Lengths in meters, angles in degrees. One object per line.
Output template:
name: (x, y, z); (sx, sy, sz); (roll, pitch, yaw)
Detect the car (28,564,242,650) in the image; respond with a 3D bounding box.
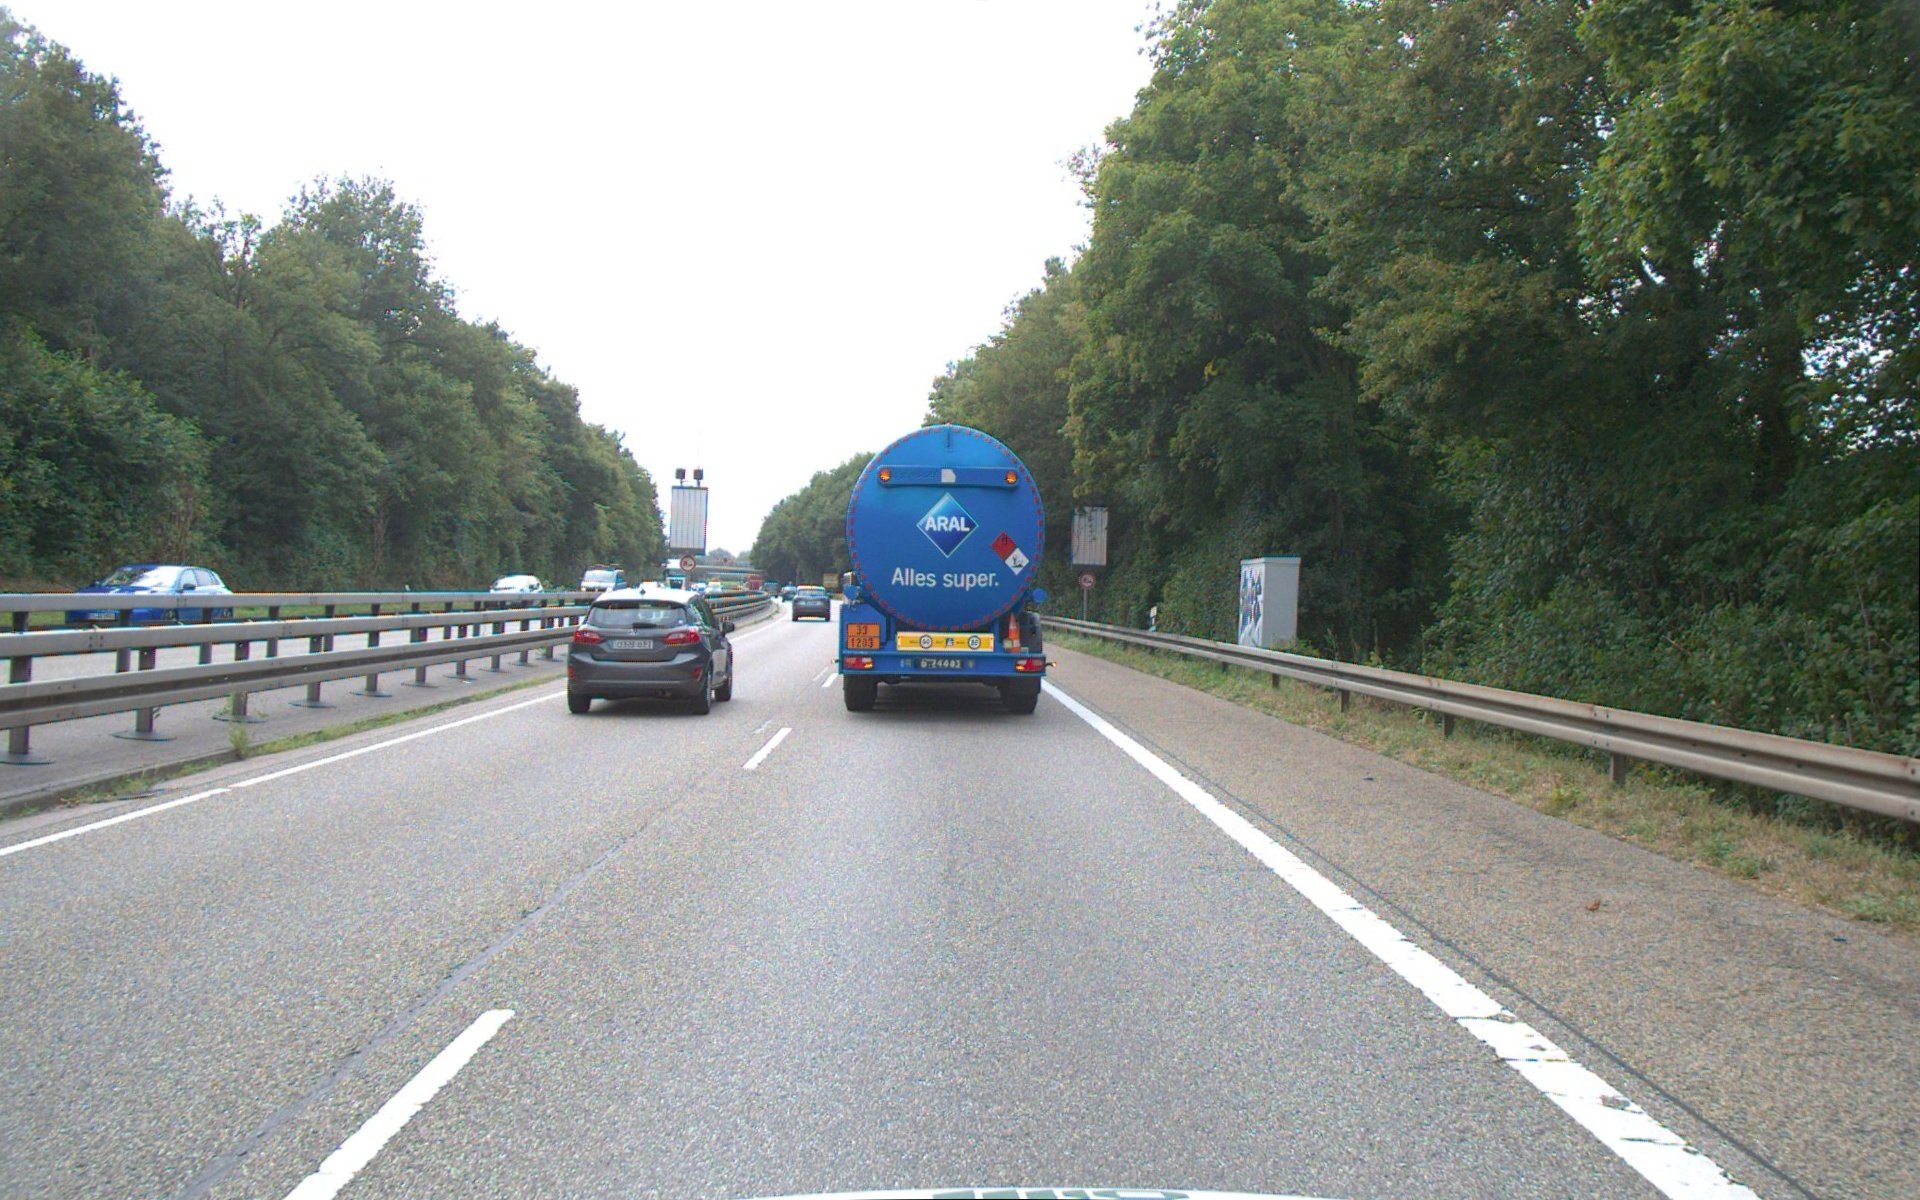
car: (-15.818, 0.128, 31.999); (1.953, 1.536, 4.503); (0, 0, -2)

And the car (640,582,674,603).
car: (-22.011, -0.538, 120.133); (1.954, 1.507, 4.128); (0, 0, -4)

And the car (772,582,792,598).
car: (-17.958, -1.028, 166.805); (1.917, 1.595, 3.995); (0, 0, -6)

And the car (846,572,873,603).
car: (-7.589, -0.908, 124.537); (1.955, 2.284, 3.996); (0, 0, -5)

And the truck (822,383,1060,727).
truck: (-0.372, -0.535, 22.757); (2.700, 3.914, 7.685); (0, 0, -3)

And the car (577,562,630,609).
car: (-18.676, -0.743, 86.907); (1.897, 2.362, 5.302); (0, 0, -3)

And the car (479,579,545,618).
car: (-17.827, -0.058, 65.993); (1.660, 1.492, 4.088); (0, 0, -2)

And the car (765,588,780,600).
car: (-25.158, -0.780, 221.694); (1.956, 1.579, 3.994); (0, 0, -7)

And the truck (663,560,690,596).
truck: (-32.906, -2.519, 192.195); (2.640, 4.134, 5.315); (0, 0, -6)

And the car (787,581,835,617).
car: (-6.982, -0.049, 77.935); (1.788, 1.637, 4.168); (0, 0, 1)

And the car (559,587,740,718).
car: (-3.842, 0.601, 21.191); (1.790, 1.483, 4.635); (0, 0, -5)
